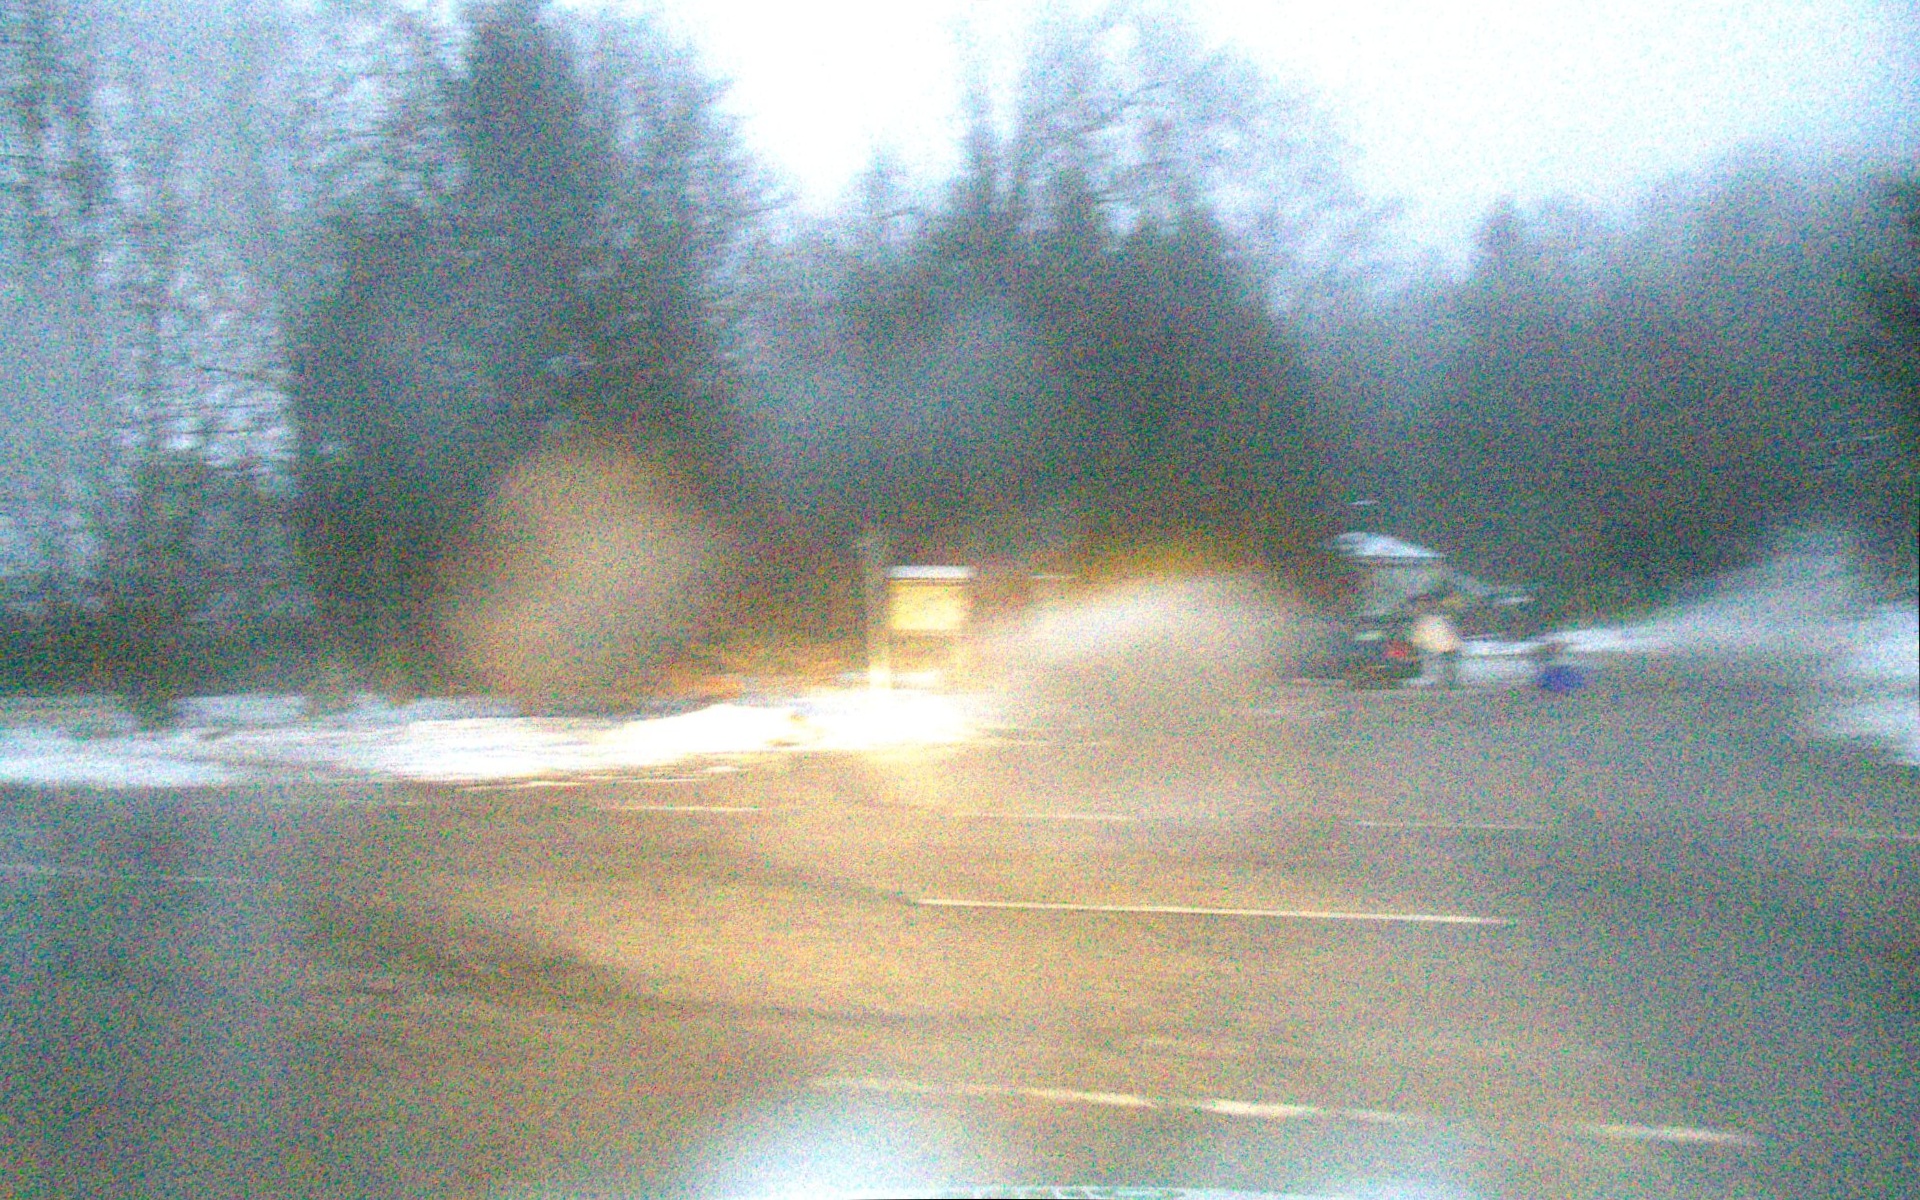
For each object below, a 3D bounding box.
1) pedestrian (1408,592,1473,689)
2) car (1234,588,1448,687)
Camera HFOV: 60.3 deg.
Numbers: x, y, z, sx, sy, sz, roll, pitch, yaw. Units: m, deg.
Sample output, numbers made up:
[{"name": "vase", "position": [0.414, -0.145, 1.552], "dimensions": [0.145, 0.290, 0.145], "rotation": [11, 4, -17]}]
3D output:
[{"name": "pedestrian", "position": [9.419, 0.784, 32.423], "dimensions": [0.945, 1.860, 0.921], "rotation": [0, -2, 38]}, {"name": "car", "position": [7.883, 0.757, 34.254], "dimensions": [3.877, 1.914, 1.994], "rotation": [0, -2, 33]}]
